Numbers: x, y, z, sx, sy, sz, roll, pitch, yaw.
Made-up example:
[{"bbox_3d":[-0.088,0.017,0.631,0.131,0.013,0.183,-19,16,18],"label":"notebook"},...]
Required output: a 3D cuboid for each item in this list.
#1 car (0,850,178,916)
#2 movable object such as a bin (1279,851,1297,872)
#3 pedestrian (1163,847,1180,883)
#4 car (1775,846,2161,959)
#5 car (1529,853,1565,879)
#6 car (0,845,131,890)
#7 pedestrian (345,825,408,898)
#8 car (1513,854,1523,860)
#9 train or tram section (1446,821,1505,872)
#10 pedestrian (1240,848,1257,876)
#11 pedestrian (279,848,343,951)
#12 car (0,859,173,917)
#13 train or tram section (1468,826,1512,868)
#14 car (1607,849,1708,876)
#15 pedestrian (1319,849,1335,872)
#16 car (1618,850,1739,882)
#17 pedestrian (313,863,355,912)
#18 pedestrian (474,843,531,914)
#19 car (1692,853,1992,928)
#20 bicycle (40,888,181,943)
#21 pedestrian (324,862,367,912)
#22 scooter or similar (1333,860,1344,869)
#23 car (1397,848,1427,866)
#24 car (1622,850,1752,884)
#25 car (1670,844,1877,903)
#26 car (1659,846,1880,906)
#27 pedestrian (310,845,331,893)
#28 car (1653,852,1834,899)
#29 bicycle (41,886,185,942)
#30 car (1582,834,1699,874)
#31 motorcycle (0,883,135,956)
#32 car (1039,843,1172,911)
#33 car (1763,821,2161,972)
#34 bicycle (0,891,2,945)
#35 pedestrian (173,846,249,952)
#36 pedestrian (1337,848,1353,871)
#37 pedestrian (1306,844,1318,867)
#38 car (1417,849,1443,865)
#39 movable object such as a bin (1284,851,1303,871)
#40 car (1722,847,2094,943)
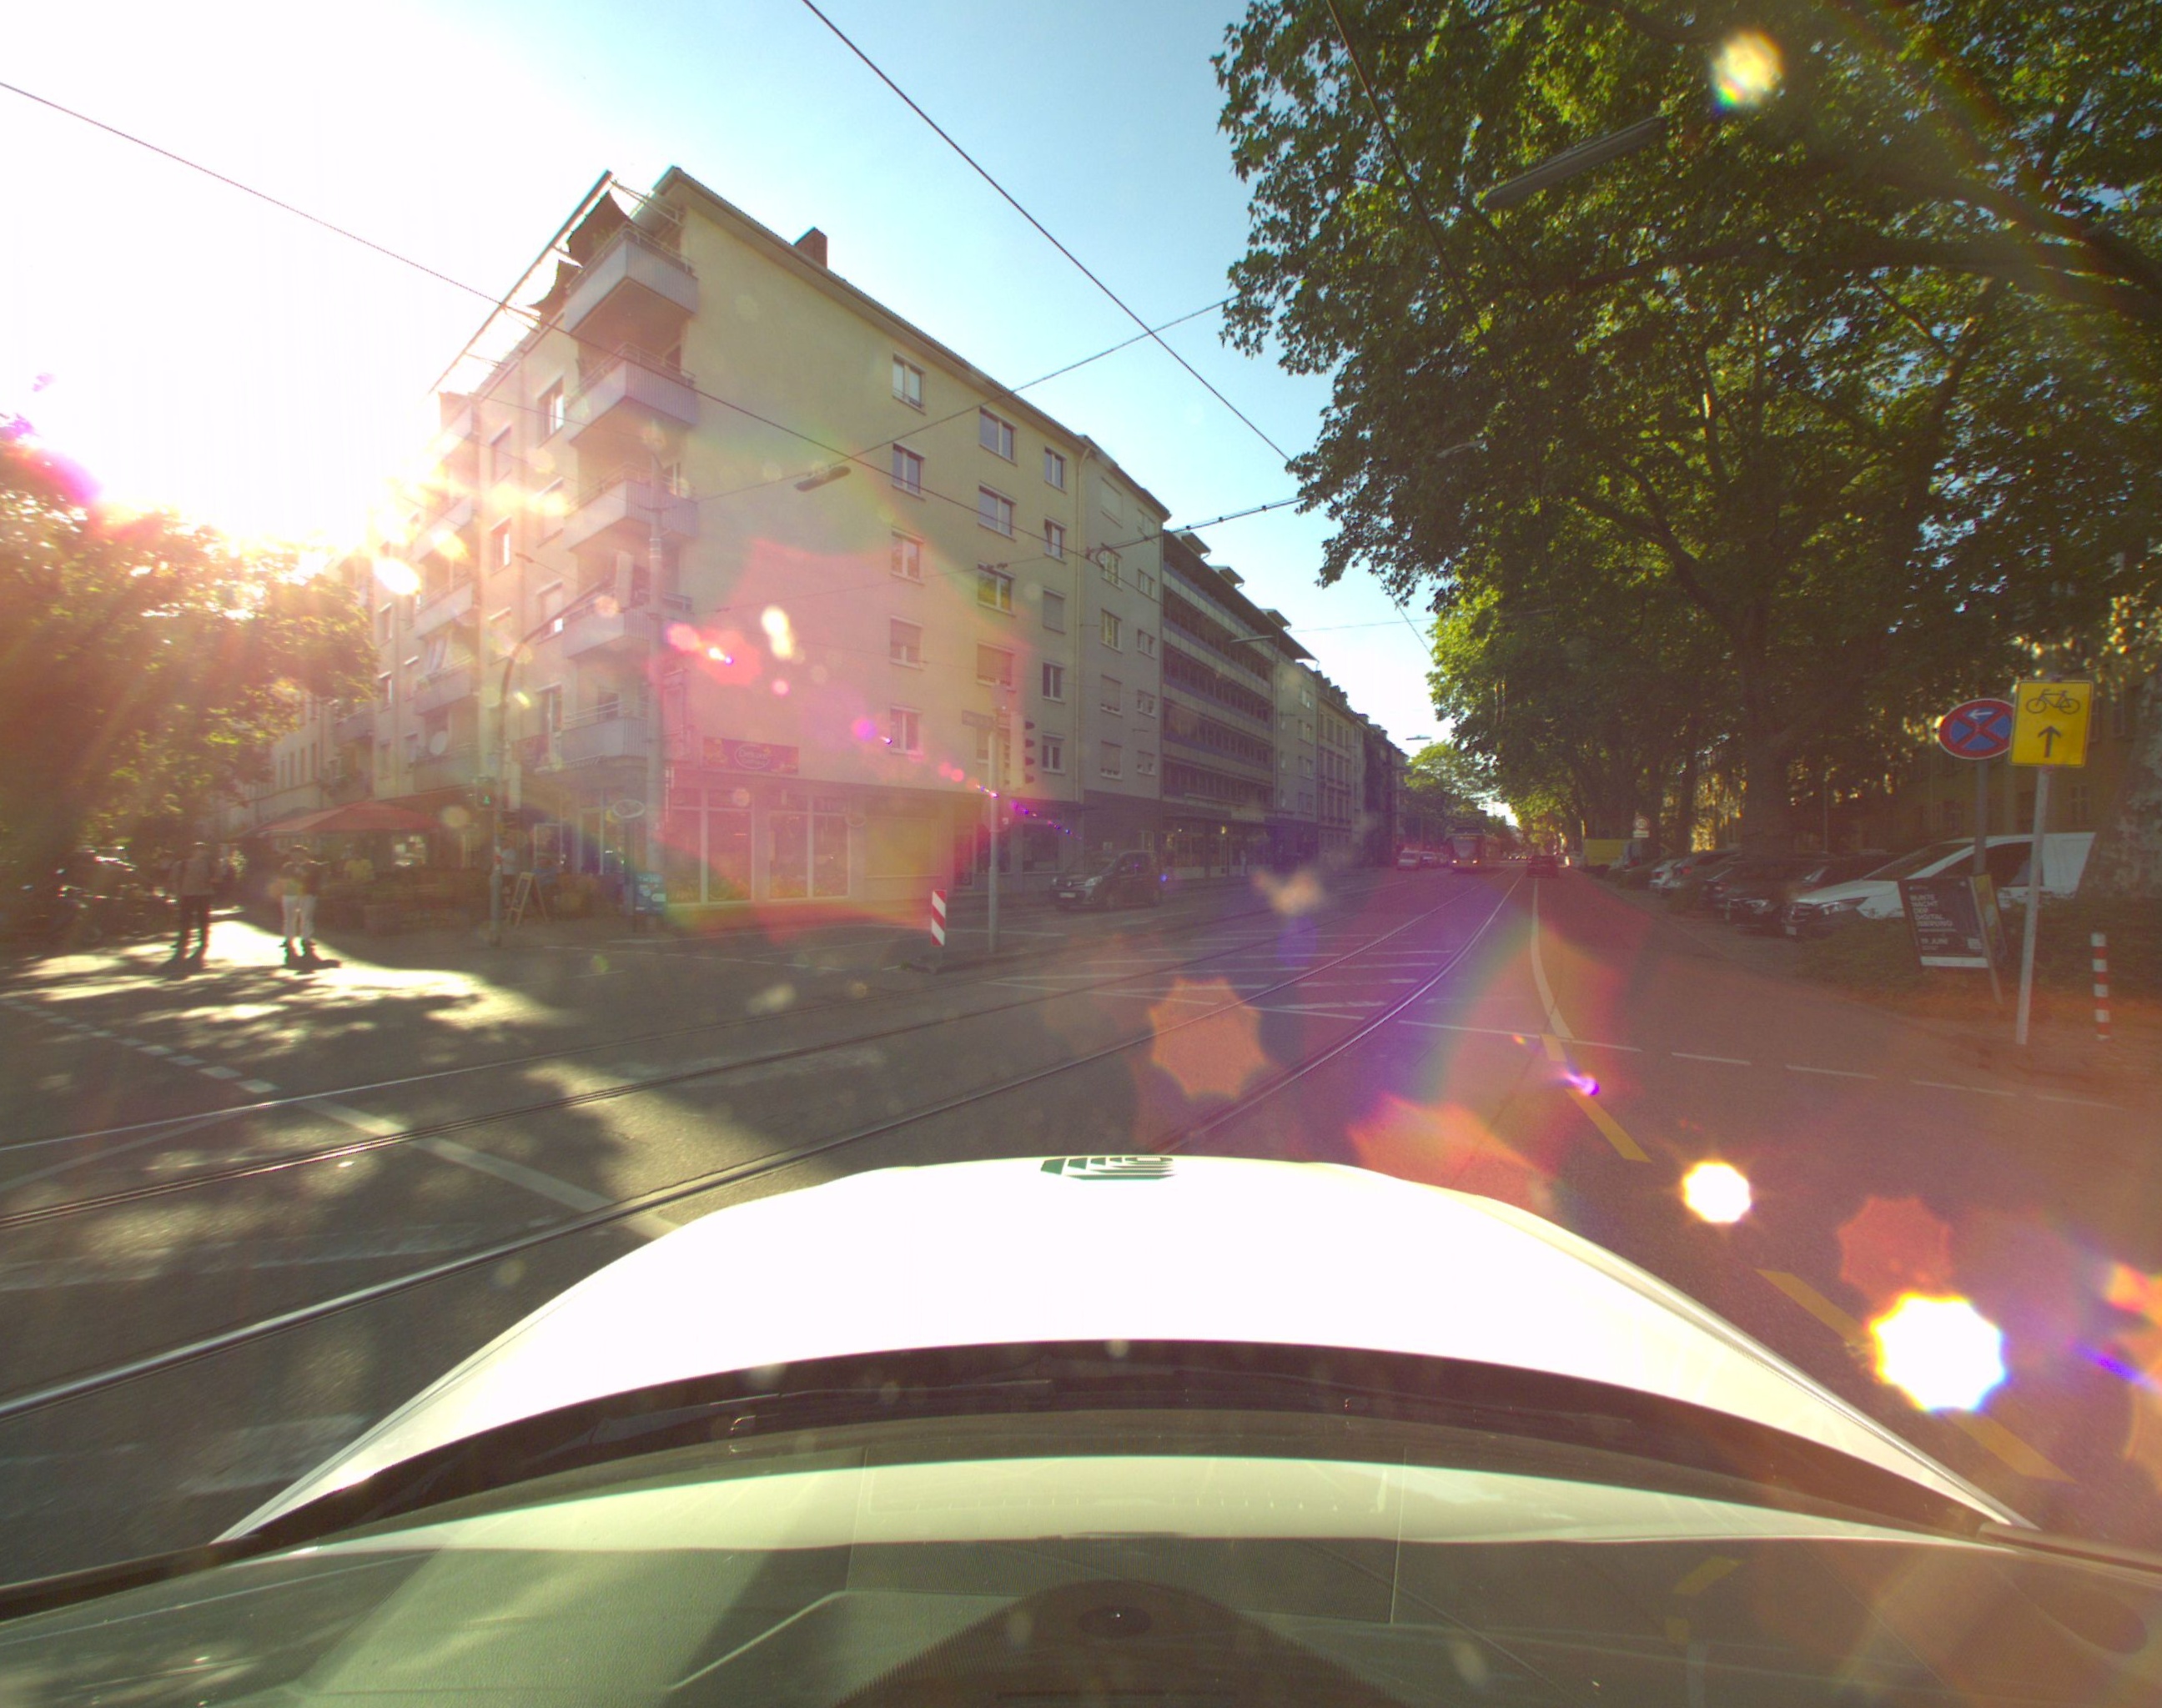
[{"bbox_3d":[-31.821,0.878,24.726,2.331,1.924,5.674,-3,-2,35],"label":"car"},{"bbox_3d":[14.245,0.524,55.950,1.003,1.428,1.151,0,0,26],"label":"movable object such as a bin"},{"bbox_3d":[4.242,0.513,38.044,0.657,1.648,0.628,0,0,17],"label":"pedestrian"},{"bbox_3d":[14.351,0.693,13.280,4.365,1.602,1.955,0,0,31],"label":"car"},{"bbox_3d":[29.836,0.751,52.131,1.875,1.564,4.420,-2,-2,30],"label":"car"},{"bbox_3d":[-47.191,0.606,36.955,2.331,1.924,5.139,-3,-2,35],"label":"car"},{"bbox_3d":[-17.618,0.180,20.384,0.810,1.771,0.912,0,0,-7],"label":"pedestrian"},{"bbox_3d":[109.037,0.812,203.411,1.975,1.509,4.023,0,0,25],"label":"car"},{"bbox_3d":[31.400,-0.525,64.416,2.833,3.638,13.281,0,0,32],"label":"train or tram section"},{"bbox_3d":[10.126,0.490,49.224,1.022,1.662,1.231,0,0,11],"label":"pedestrian"},{"bbox_3d":[-13.565,0.768,14.368,0.696,1.750,0.831,0,-1,-36],"label":"pedestrian"},{"bbox_3d":[-29.812,0.964,23.140,2.331,1.557,5.139,-3,-1,35],"label":"car"},{"bbox_3d":[38.134,-0.609,75.641,2.805,3.638,12.897,0,0,30],"label":"train or tram section"},{"bbox_3d":[34.015,0.500,48.197,4.668,1.534,1.931,0,0,28],"label":"car"},{"bbox_3d":[17.822,0.486,58.875,0.883,1.624,1.041,0,0,30],"label":"pedestrian"},{"bbox_3d":[29.894,0.562,40.966,4.668,1.534,1.931,0,0,27],"label":"car"},{"bbox_3d":[-21.508,0.946,23.443,0.902,1.362,0.819,-1,0,43],"label":"pedestrian"},{"bbox_3d":[-14.796,0.611,20.845,0.804,1.771,0.919,0,0,27],"label":"pedestrian"},{"bbox_3d":[16.589,0.730,18.132,4.542,1.506,1.931,0,0,28],"label":"car"},{"bbox_3d":[-18.833,1.172,15.839,0.555,0.932,1.740,0,0,38],"label":"bicycle"},{"bbox_3d":[-20.464,0.897,22.647,0.902,1.362,0.819,-1,0,43],"label":"pedestrian"},{"bbox_3d":[18.395,0.749,58.156,0.618,0.648,0.771,0,0,30],"label":"scooter or similar"},{"bbox_3d":[29.368,0.282,72.215,1.875,1.564,4.420,0,0,29],"label":"car"},{"bbox_3d":[28.592,0.579,38.627,4.668,1.534,1.931,0,0,28],"label":"car"},{"bbox_3d":[21.527,0.588,25.611,4.667,1.722,1.931,-1,0,30],"label":"car"},{"bbox_3d":[19.812,0.604,23.764,4.667,1.602,1.932,-1,0,31],"label":"car"},{"bbox_3d":[-32.452,0.629,34.753,0.505,2.014,0.541,0,0,31],"label":"pedestrian"},{"bbox_3d":[22.983,0.724,28.534,4.667,1.534,1.931,-1,0,30],"label":"car"},{"bbox_3d":[-18.232,1.099,15.377,0.555,0.932,1.740,0,0,38],"label":"bicycle"},{"bbox_3d":[34.721,-0.016,50.764,5.889,2.366,2.074,0,0,31],"label":"car"},{"bbox_3d":[-17.601,1.090,13.785,0.826,1.109,1.970,0,0,33],"label":"motorcycle"},{"bbox_3d":[0.827,0.611,23.990,1.891,1.806,4.389,0,0,33],"label":"car"},{"bbox_3d":[12.840,0.548,11.063,5.170,1.826,1.942,-2,-2,29],"label":"car"},{"bbox_3d":[-19.970,1.149,13.978,0.663,0.932,1.740,0,0,38],"label":"bicycle"},{"bbox_3d":[-14.938,0.745,13.986,0.785,1.750,0.697,0,0,27],"label":"pedestrian"},{"bbox_3d":[19.065,0.384,58.776,0.883,1.624,1.041,0,0,30],"label":"pedestrian"},{"bbox_3d":[18.361,0.125,64.827,0.885,1.864,0.793,0,0,19],"label":"pedestrian"},{"bbox_3d":[34.863,0.254,81.340,1.875,1.564,4.420,0,0,29],"label":"car"},{"bbox_3d":[14.922,0.493,57.228,1.003,1.428,1.264,0,0,31],"label":"movable object such as a bin"},{"bbox_3d":[15.407,0.692,15.632,4.667,1.602,1.932,-1,0,31],"label":"car"}]
